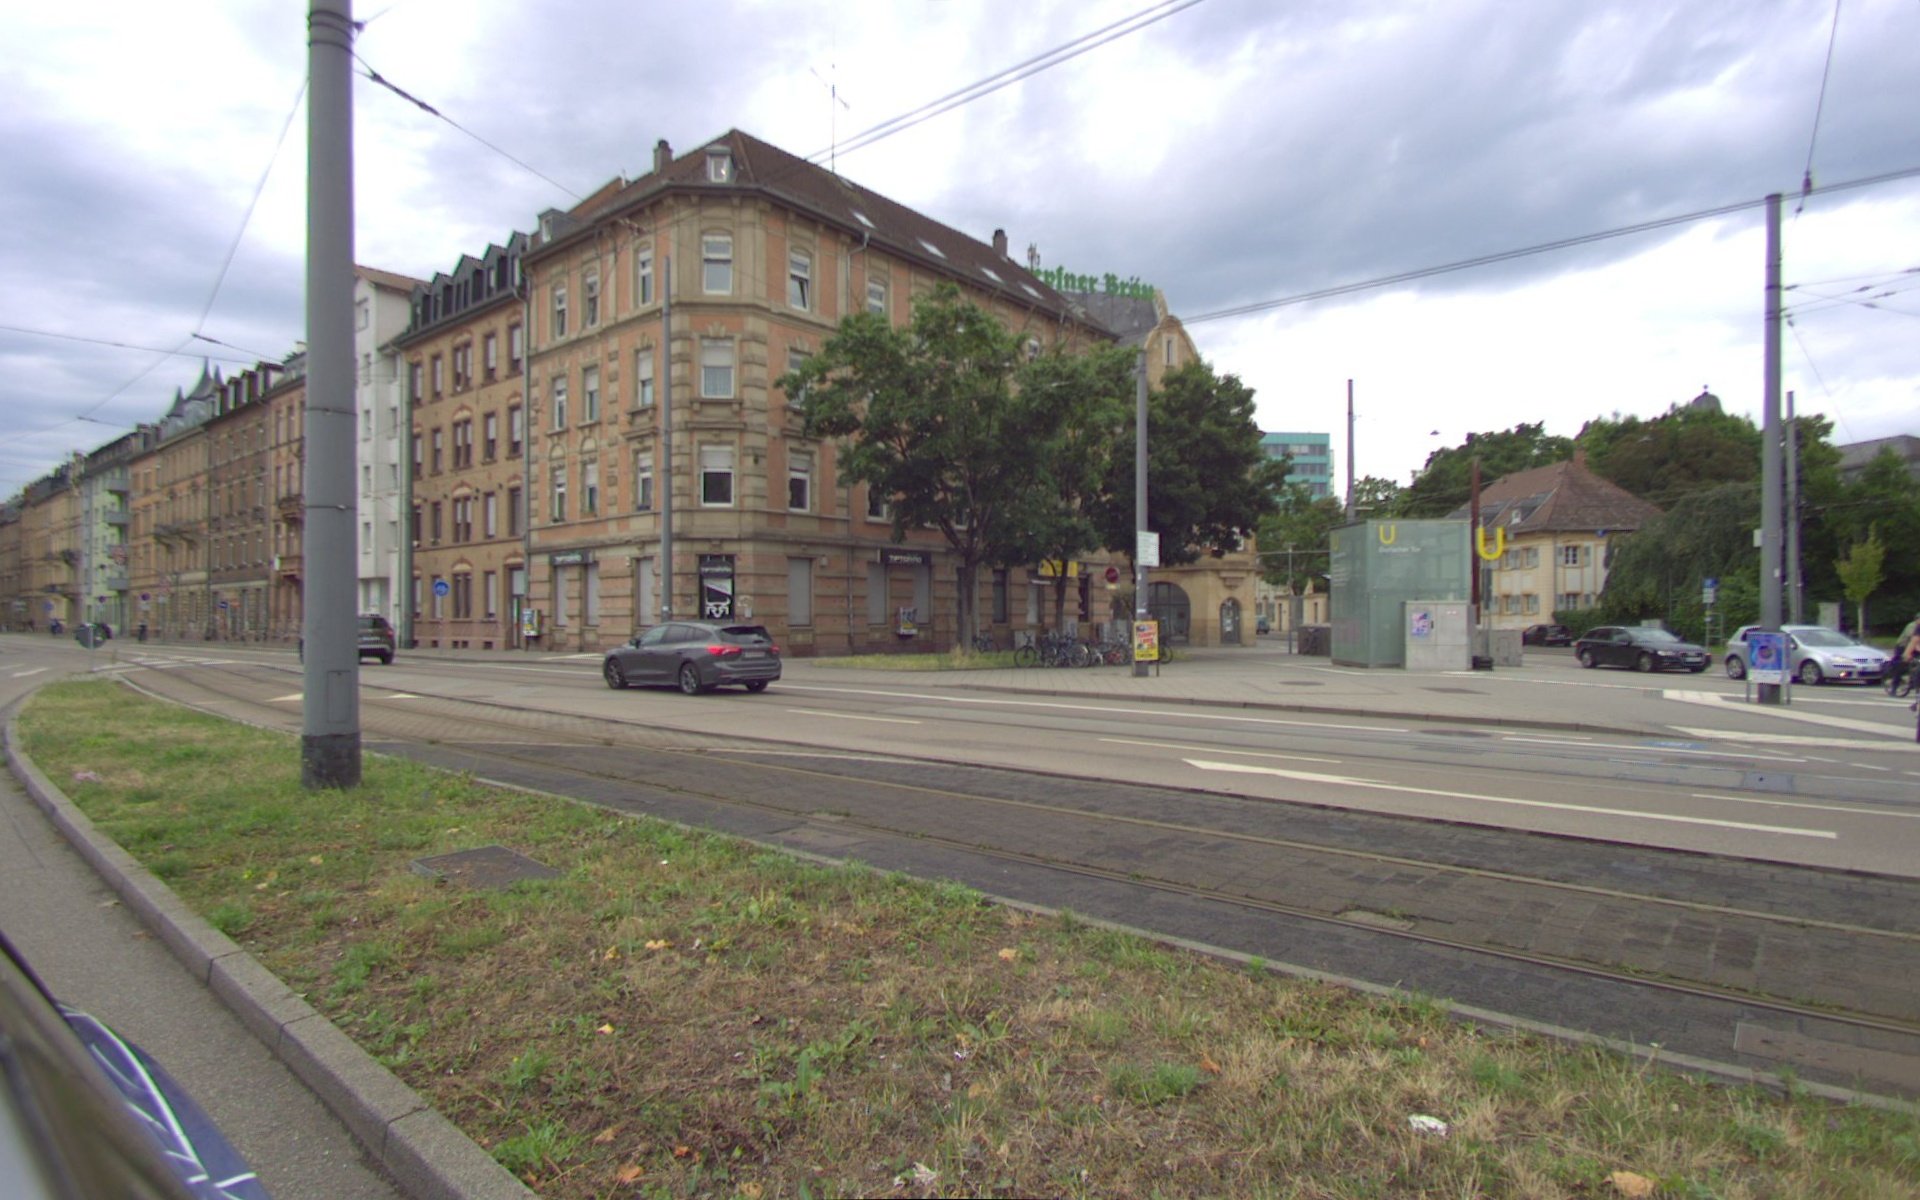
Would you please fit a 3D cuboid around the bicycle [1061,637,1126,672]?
[{"bbox_3d":[4.034,1.641,30.836,0.492,0.994,2.224,0,-1,-39],"label":"bicycle"}]

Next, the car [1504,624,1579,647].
[{"bbox_3d":[35.611,2.164,62.086,1.904,1.298,4.006,0,-1,-7],"label":"car"}]

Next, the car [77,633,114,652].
[{"bbox_3d":[-68.758,3.365,80.475,3.828,1.491,1.828,-2,-2,43],"label":"car"}]

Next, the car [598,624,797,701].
[{"bbox_3d":[-5.431,1.206,20.662,4.387,1.406,1.676,-1,-2,39],"label":"car"}]

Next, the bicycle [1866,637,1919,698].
[{"bbox_3d":[19.960,1.385,20.710,0.845,1.217,2.197,0,-1,1],"label":"bicycle"}]

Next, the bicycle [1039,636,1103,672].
[{"bbox_3d":[3.316,1.607,30.504,0.472,1.014,2.224,0,-1,-39],"label":"bicycle"}]

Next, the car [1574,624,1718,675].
[{"bbox_3d":[21.797,1.526,32.377,1.673,1.460,4.144,-1,-1,-1],"label":"car"}]

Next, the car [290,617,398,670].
[{"bbox_3d":[-20.570,1.396,33.737,4.225,1.652,1.780,-1,-1,39],"label":"car"}]

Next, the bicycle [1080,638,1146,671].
[{"bbox_3d":[4.801,1.694,31.833,0.601,0.994,2.224,0,-1,-39],"label":"bicycle"}]

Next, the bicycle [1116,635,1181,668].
[{"bbox_3d":[6.358,1.733,34.279,0.678,1.047,2.224,0,-1,-39],"label":"bicycle"}]

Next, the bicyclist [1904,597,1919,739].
[{"bbox_3d":[12.781,0.857,13.048,0.816,1.812,1.015,-3,-3,43],"label":"bicyclist"}]

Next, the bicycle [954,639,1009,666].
[{"bbox_3d":[0.810,1.975,37.996,1.982,0.921,0.655,-4,-5,31],"label":"bicycle"}]

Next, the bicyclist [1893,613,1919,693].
[{"bbox_3d":[19.965,1.086,20.711,0.843,1.635,0.917,0,-2,1],"label":"bicyclist"}]

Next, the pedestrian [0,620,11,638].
[{"bbox_3d":[-104.930,3.205,111.283,0.733,2.029,0.804,-1,-2,41],"label":"pedestrian"}]

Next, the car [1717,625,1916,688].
[{"bbox_3d":[21.899,1.389,26.131,1.739,1.465,4.156,-1,-1,4],"label":"car"}]

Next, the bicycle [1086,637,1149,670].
[{"bbox_3d":[5.035,1.693,32.492,0.492,0.994,2.224,0,-1,-39],"label":"bicycle"}]

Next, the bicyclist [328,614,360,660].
[{"bbox_3d":[-25.811,1.536,42.419,1.048,1.906,0.821,-2,-3,39],"label":"bicyclist"}]

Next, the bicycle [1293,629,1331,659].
[{"bbox_3d":[13.933,1.709,40.123,0.730,1.123,2.361,-1,-1,3],"label":"bicycle"}]

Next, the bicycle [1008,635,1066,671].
[{"bbox_3d":[2.248,1.547,29.751,0.492,0.994,1.872,1,-2,-41],"label":"bicycle"}]

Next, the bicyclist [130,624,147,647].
[{"bbox_3d":[-53.594,2.319,66.016,0.941,1.506,0.655,-1,-1,37],"label":"bicyclist"}]

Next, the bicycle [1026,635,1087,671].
[{"bbox_3d":[2.864,1.565,30.178,0.513,0.994,2.041,0,-1,-39],"label":"bicycle"}]

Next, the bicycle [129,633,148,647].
[{"bbox_3d":[-53.591,2.618,66.025,1.716,0.922,0.600,-1,-1,37],"label":"bicycle"}]

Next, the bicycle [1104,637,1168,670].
[{"bbox_3d":[5.758,1.734,33.155,0.576,0.994,2.224,0,-1,-39],"label":"bicycle"}]

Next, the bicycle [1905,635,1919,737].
[{"bbox_3d":[12.732,1.087,12.989,0.816,1.252,1.971,-3,-4,43],"label":"bicycle"}]
